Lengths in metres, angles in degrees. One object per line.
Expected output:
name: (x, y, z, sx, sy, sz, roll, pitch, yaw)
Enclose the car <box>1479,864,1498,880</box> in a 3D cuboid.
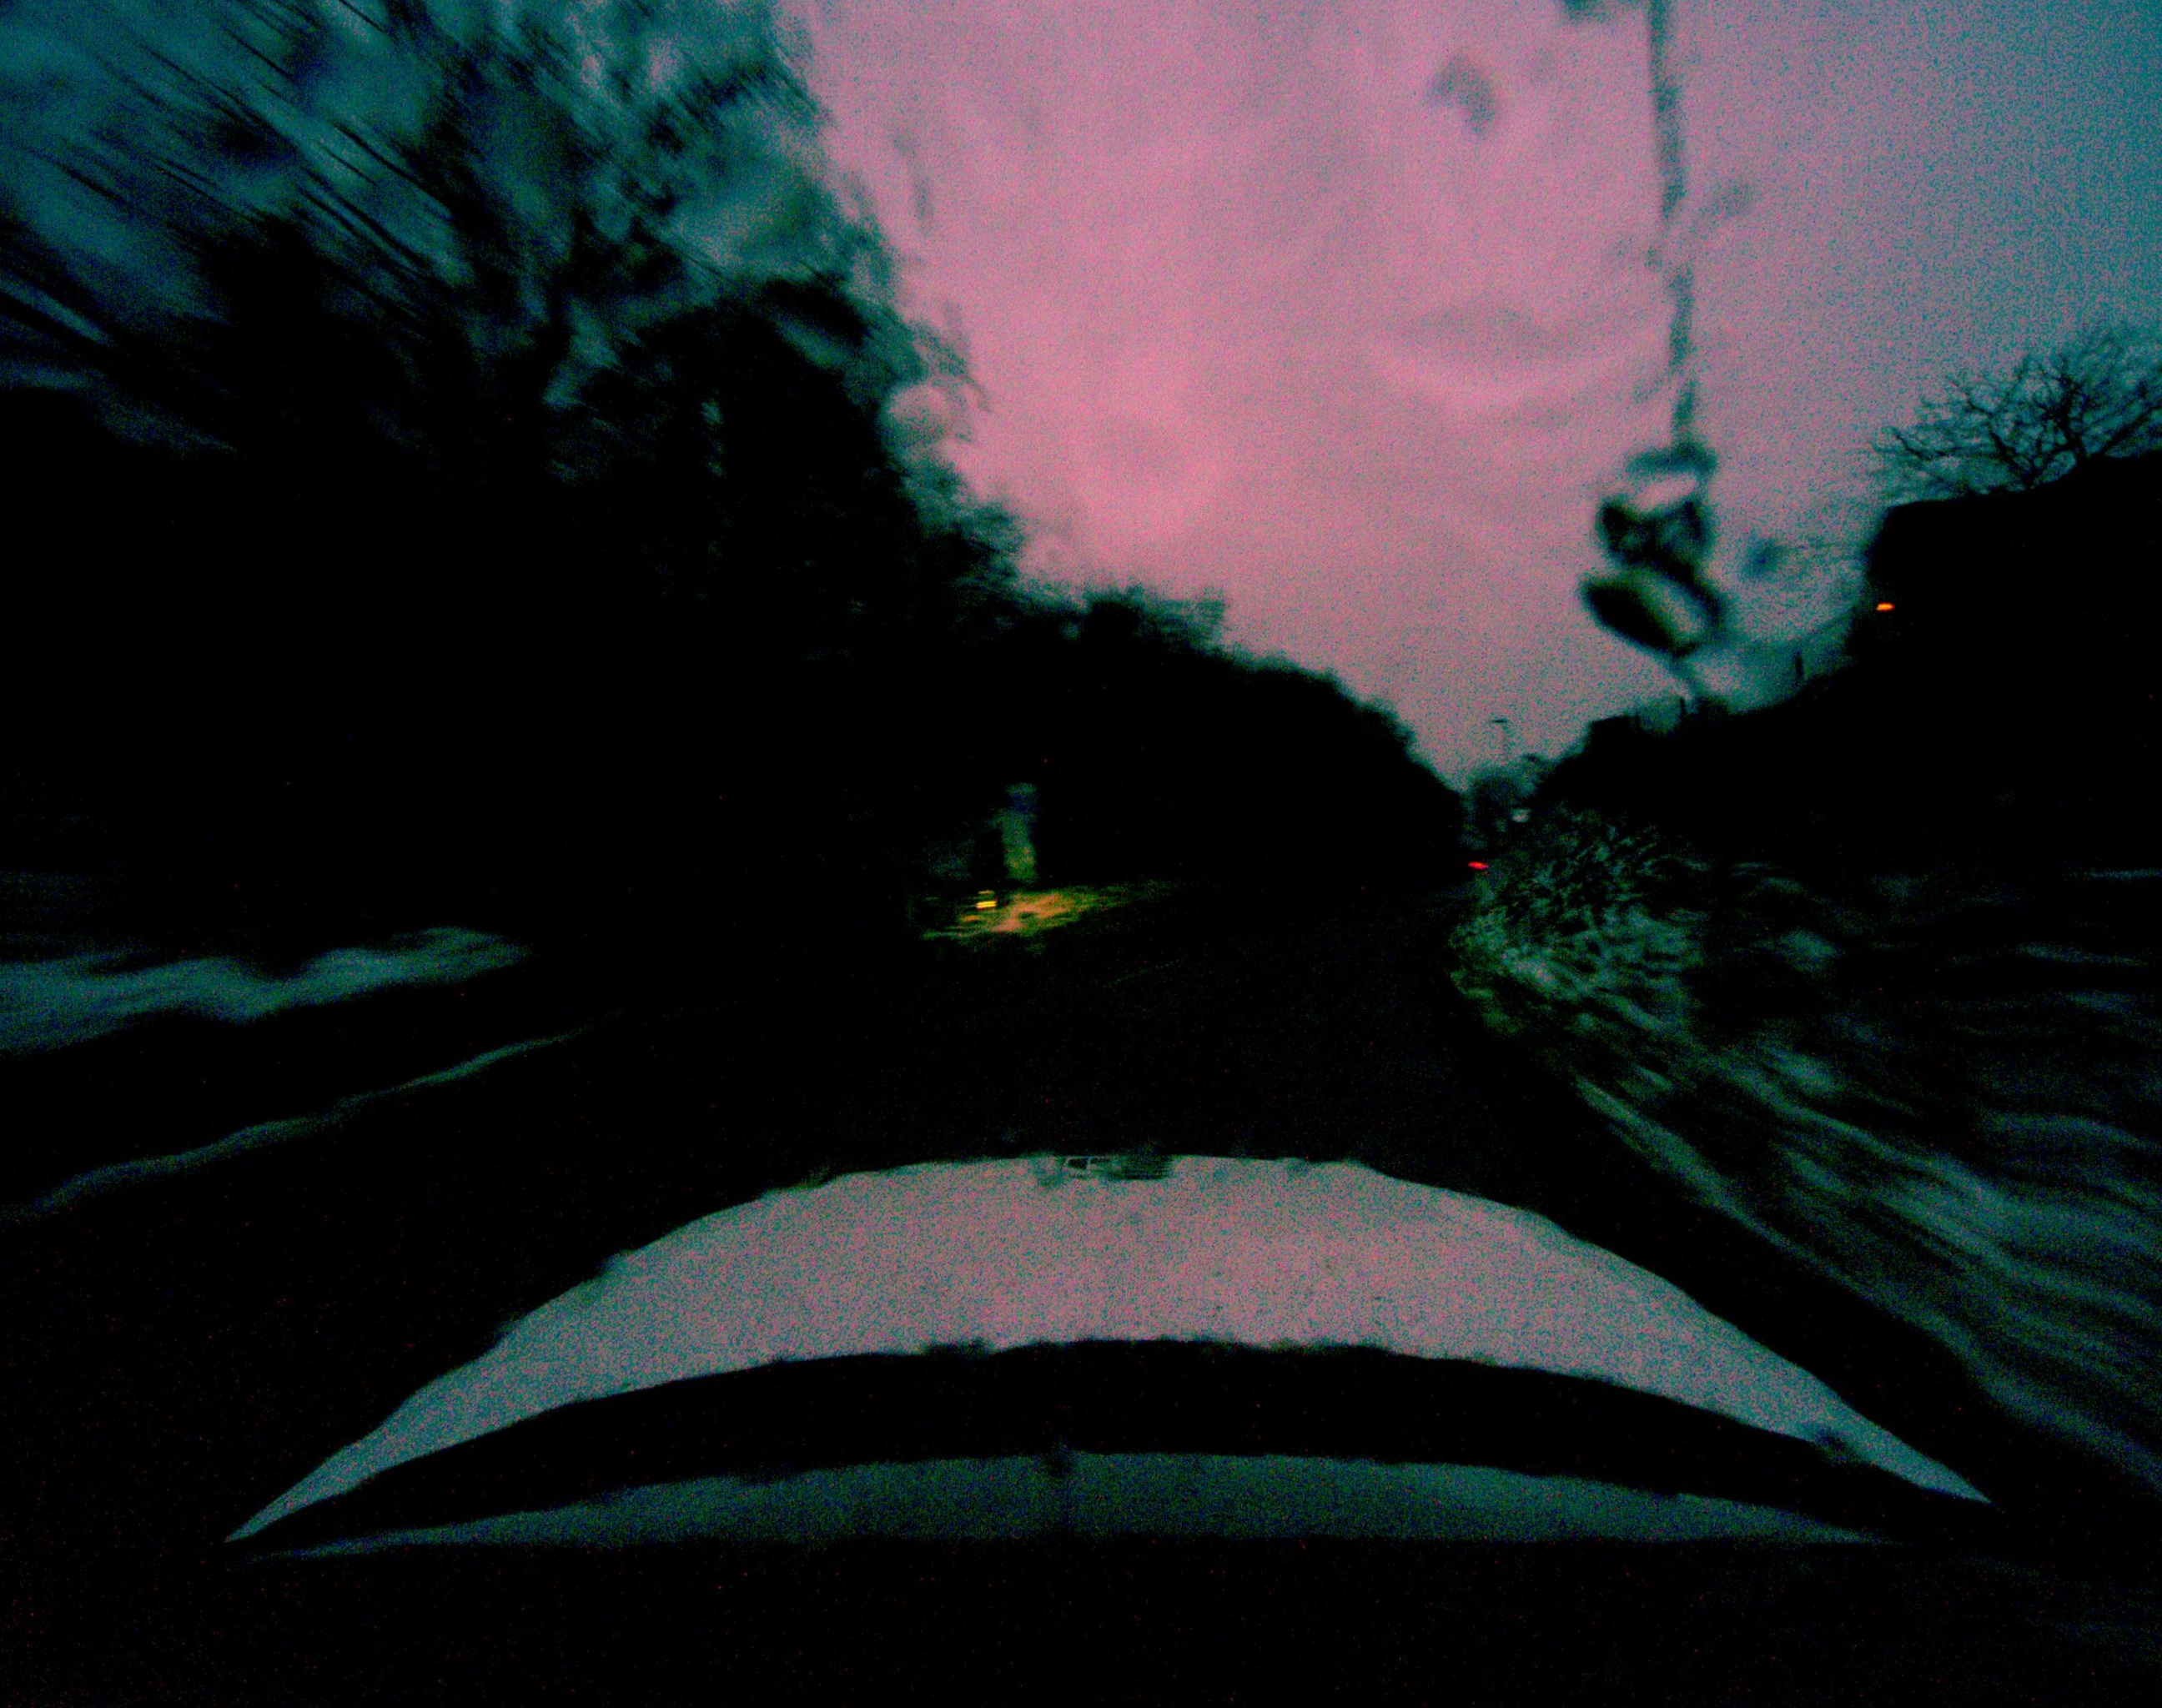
car: (47.389, 2.098, 94.622, 1.788, 1.739, 4.024, 1, -2, 29)
